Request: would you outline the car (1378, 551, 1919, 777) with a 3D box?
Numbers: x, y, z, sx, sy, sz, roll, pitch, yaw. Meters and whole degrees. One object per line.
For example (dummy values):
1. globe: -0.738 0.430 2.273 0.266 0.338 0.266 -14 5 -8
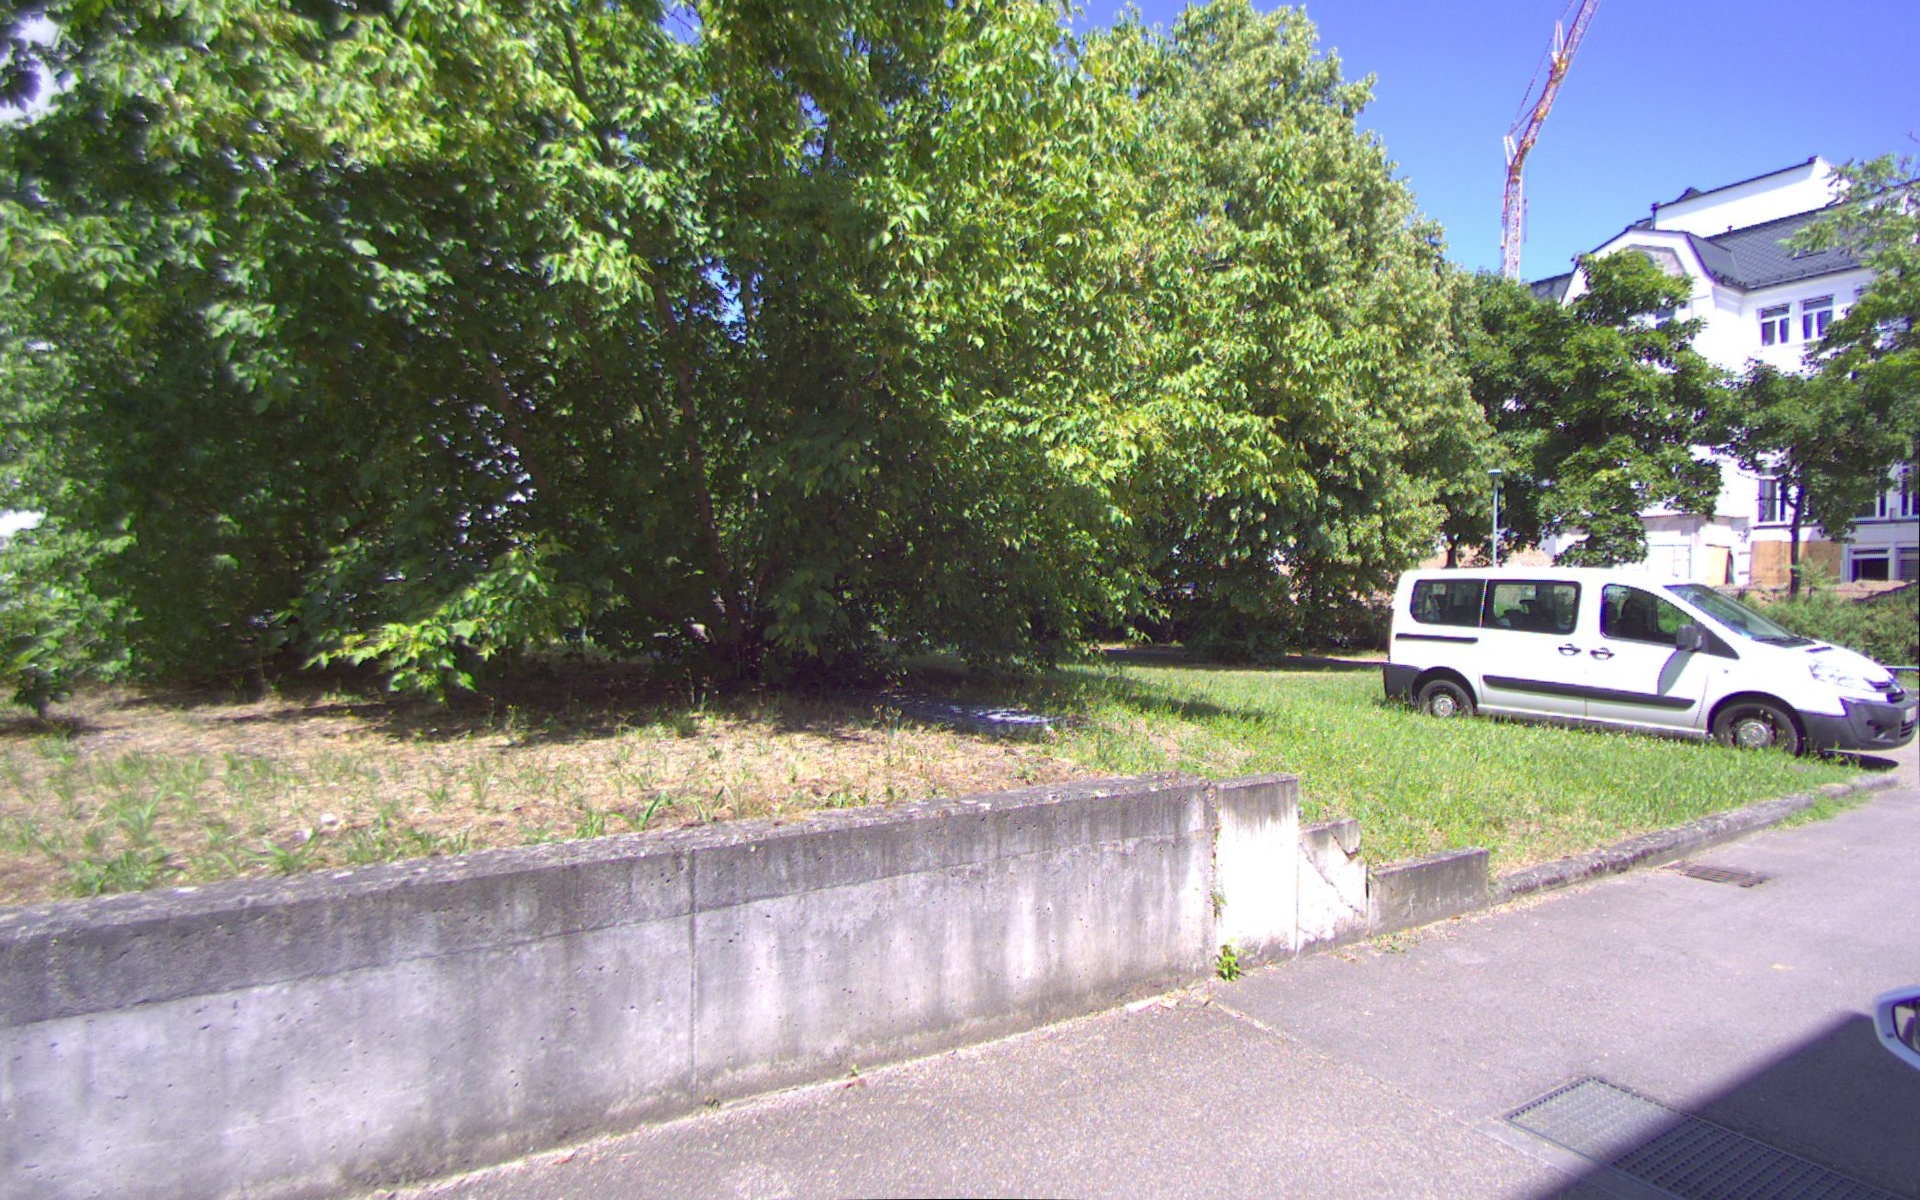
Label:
1. car: 7.382 0.568 11.124 1.982 1.937 4.753 1 -1 -37
